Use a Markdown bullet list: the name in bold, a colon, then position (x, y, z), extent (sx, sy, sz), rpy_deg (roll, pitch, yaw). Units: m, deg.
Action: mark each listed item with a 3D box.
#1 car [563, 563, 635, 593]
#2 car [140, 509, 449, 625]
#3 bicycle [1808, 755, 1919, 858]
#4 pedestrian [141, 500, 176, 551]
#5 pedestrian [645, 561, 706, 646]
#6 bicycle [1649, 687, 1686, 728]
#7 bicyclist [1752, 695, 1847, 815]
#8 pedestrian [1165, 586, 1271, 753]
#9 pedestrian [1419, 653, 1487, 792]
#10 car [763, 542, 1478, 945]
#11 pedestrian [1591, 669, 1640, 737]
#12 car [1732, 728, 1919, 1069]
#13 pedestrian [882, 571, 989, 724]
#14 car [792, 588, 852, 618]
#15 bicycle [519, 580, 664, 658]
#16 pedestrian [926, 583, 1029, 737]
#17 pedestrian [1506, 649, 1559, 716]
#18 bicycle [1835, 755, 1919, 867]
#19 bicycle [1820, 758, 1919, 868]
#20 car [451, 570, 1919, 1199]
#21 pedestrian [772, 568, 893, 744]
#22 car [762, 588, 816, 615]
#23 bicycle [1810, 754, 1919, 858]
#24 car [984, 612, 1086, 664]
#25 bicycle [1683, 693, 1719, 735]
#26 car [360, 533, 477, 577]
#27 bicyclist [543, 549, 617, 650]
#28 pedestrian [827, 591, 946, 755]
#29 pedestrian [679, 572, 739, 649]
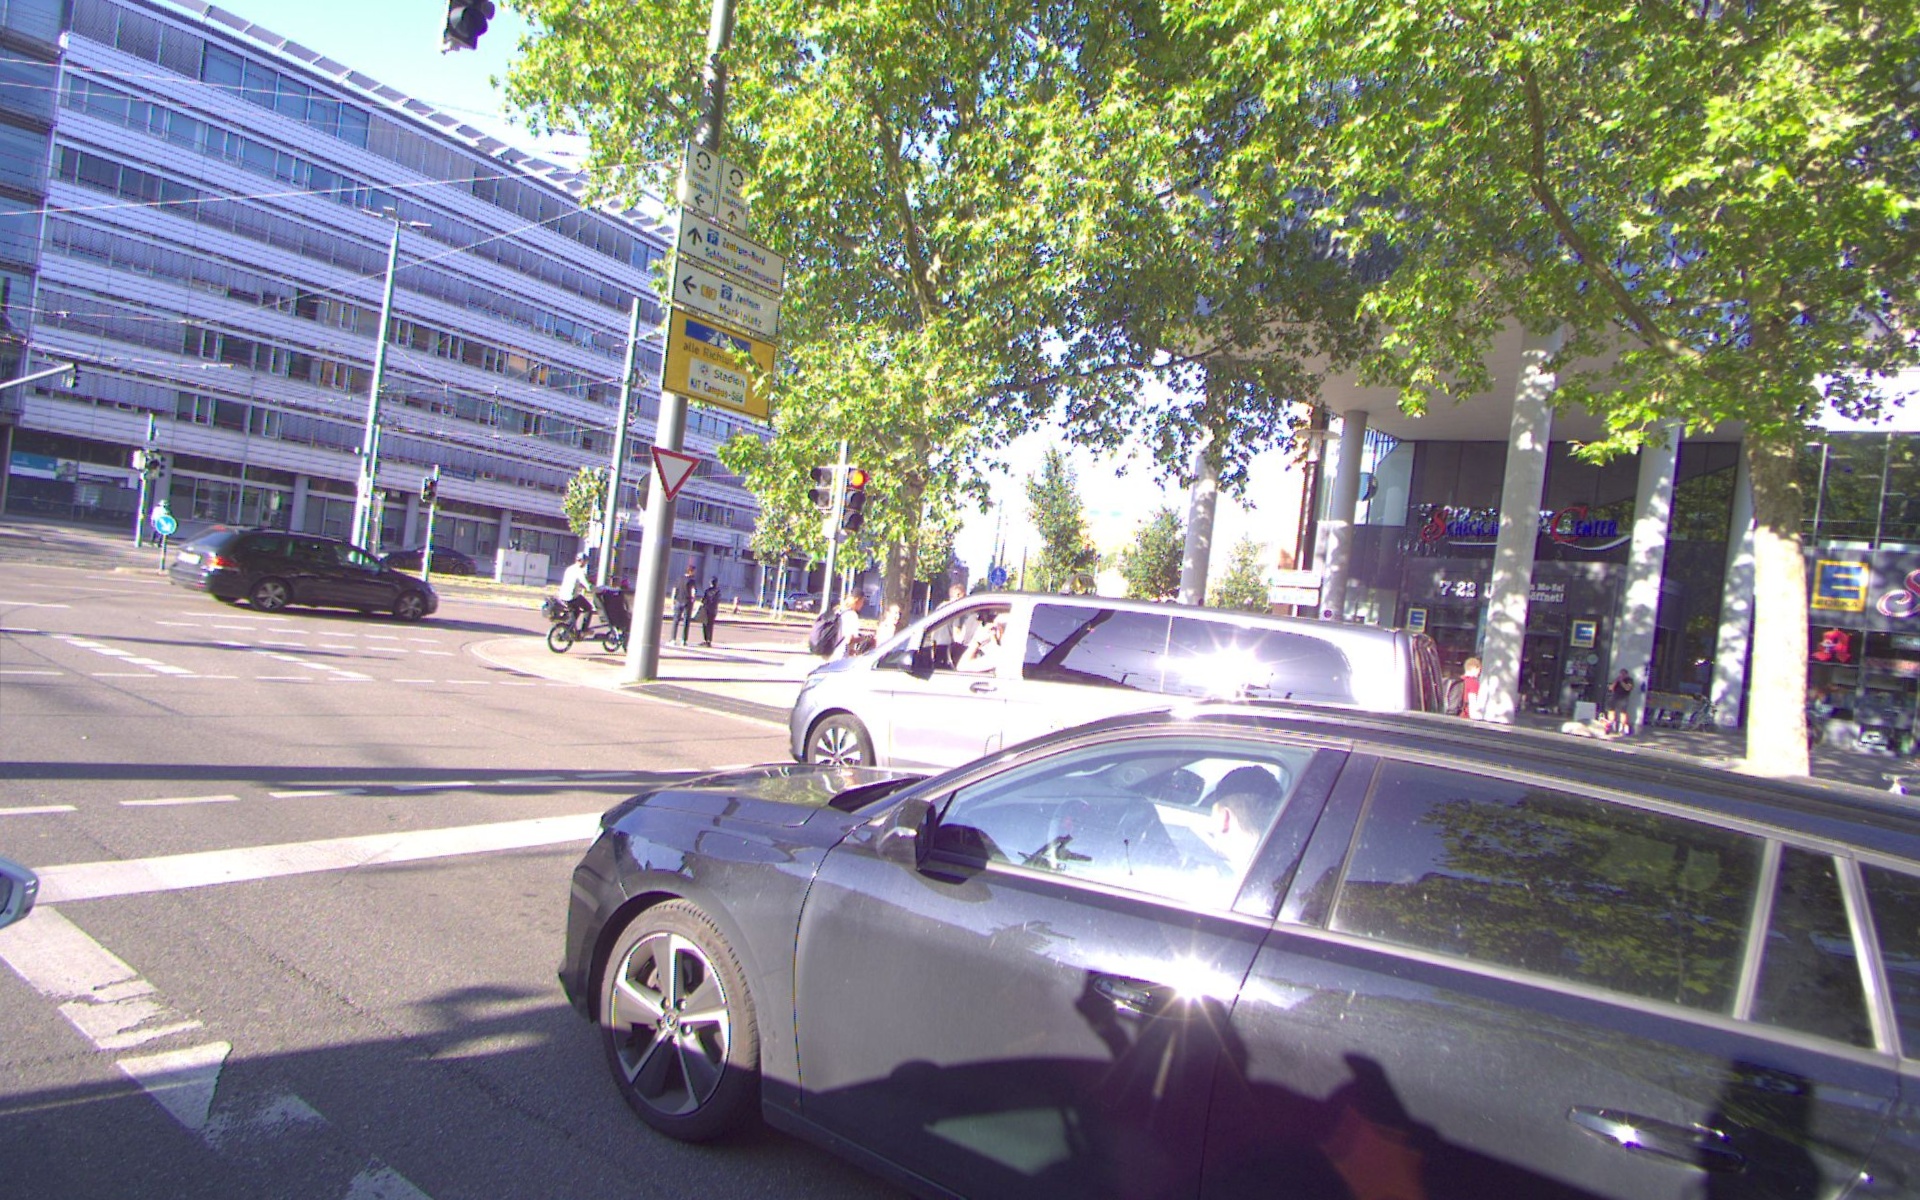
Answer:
- **car**: position (-23.227, -1.427, 64.836), extent (1.731, 1.415, 3.990), rpy_deg (7, 0, 33)
- **car**: position (-12.437, -0.549, 19.130), extent (1.966, 1.536, 4.392), rpy_deg (8, 0, 30)
- **bicycle**: position (11.469, 2.568, 12.487), extent (0.393, 1.038, 1.305), rpy_deg (6, 1, -42)
- **pedestrian**: position (-28.703, -2.673, 36.020), extent (0.549, 1.701, 0.719), rpy_deg (7, -1, 39)
- **pedestrian**: position (-6.608, 0.080, 23.389), extent (0.856, 1.841, 0.844), rpy_deg (7, -1, 44)
- **bicycle**: position (21.874, 3.329, 31.099), extent (0.709, 1.142, 1.912), rpy_deg (7, 0, 39)
- **bicyclist**: position (13.869, 2.539, 16.649), extent (0.738, 1.790, 0.852), rpy_deg (7, 1, 14)
- **pedestrian**: position (3.046, 0.809, 11.847), extent (0.795, 1.808, 0.873), rpy_deg (7, 1, 31)
- **pedestrian**: position (6.686, 1.636, 13.623), extent (0.617, 1.735, 1.076), rpy_deg (7, -1, 28)
- **car**: position (1.101, 0.847, 7.996), extent (5.053, 1.988, 1.997), rpy_deg (7, -2, 32)
- **pedestrian**: position (17.482, 2.731, 26.856), extent (0.851, 1.662, 0.967), rpy_deg (7, 1, 28)
- **car**: position (6.422, 1.714, 4.705), extent (4.147, 1.482, 1.767), rpy_deg (7, 0, 32)
- **pedestrian**: position (-0.320, 0.663, 13.716), extent (0.818, 1.916, 1.149), rpy_deg (7, -1, 25)
- **car**: position (-9.552, 0.233, 69.991), extent (1.966, 1.682, 3.992), rpy_deg (7, 0, 31)
- **bicycle**: position (-6.648, 0.364, 18.235), extent (1.057, 1.243, 2.153), rpy_deg (8, 3, 39)
- **pedestrian**: position (0.239, 0.774, 12.948), extent (0.744, 1.827, 1.075), rpy_deg (7, -1, 25)
- **pedestrian**: position (17.423, 2.506, 30.621), extent (0.990, 1.867, 0.844), rpy_deg (6, 1, -33)
- **bicycle**: position (10.346, 2.302, 10.591), extent (1.545, 1.038, 0.461), rpy_deg (7, 1, 29)
- **bicycle**: position (10.597, 2.406, 11.086), extent (1.545, 1.038, 0.461), rpy_deg (7, 1, 29)
- **car**: position (0.782, 0.930, 2.781), extent (4.274, 1.441, 1.826), rpy_deg (7, -2, 32)
- **pedestrian**: position (-1.477, 0.663, 11.798), extent (0.725, 1.893, 1.076), rpy_deg (7, -1, 25)
- **car**: position (-13.234, 0.134, 77.879), extent (1.731, 1.631, 3.990), rpy_deg (7, 0, 33)
- **bicycle**: position (11.164, 2.490, 12.101), extent (0.393, 1.038, 1.305), rpy_deg (6, 1, -42)
- **car**: position (3.311, 1.677, 43.511), extent (1.970, 1.748, 4.833), rpy_deg (7, -1, 37)
- **bicycle**: position (22.565, 3.455, 30.628), extent (0.709, 1.142, 1.912), rpy_deg (7, 0, 39)
- **car**: position (-24.435, -2.022, 45.551), extent (1.768, 1.409, 4.241), rpy_deg (7, 0, 36)
- **bicyclist**: position (-6.779, 0.008, 17.957), extent (0.681, 1.703, 0.902), rpy_deg (7, 3, 39)
- **pedestrian**: position (-0.820, 0.827, 11.489), extent (0.744, 1.701, 1.076), rpy_deg (7, -1, 25)
- **pedestrian**: position (-6.004, 0.259, 24.060), extent (0.855, 1.701, 0.845), rpy_deg (7, -1, 39)
